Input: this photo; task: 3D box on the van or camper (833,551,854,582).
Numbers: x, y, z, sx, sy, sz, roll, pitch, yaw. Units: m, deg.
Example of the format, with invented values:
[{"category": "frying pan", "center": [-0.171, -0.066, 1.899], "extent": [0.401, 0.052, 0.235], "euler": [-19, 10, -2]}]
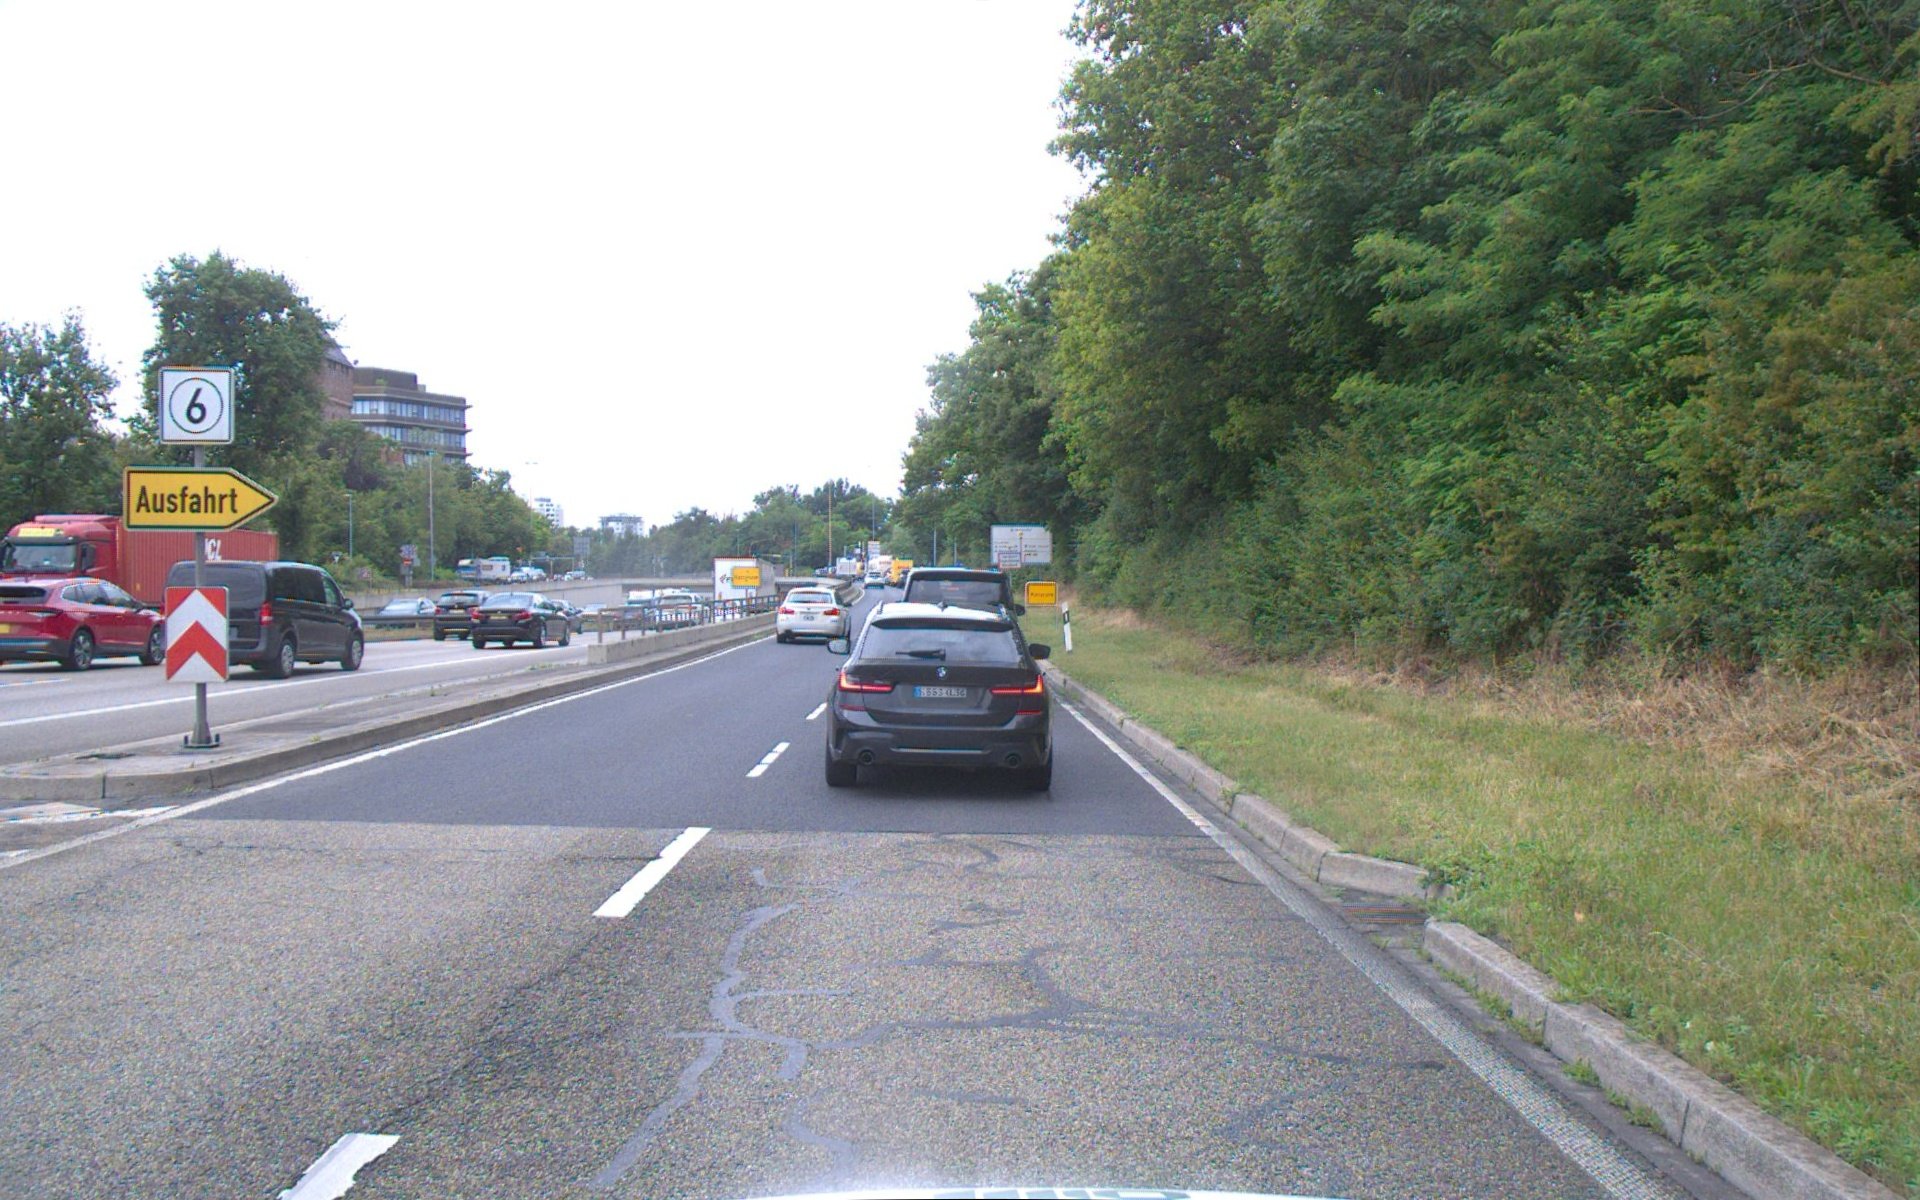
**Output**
[{"category": "van or camper", "center": [-11.128, -3.205, 158.768], "extent": [1.954, 2.870, 3.997], "euler": [0, 0, -3]}]

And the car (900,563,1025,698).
[{"category": "car", "center": [0.018, 0.430, 25.557], "extent": [1.759, 1.904, 3.999], "euler": [1, 0, -1]}]

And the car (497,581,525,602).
[{"category": "car", "center": [-40.672, -0.803, 149.813], "extent": [1.622, 1.868, 3.621], "euler": [0, 0, -1]}]

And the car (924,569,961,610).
[{"category": "car", "center": [-0.708, -0.423, 65.008], "extent": [1.423, 1.567, 3.224], "euler": [0, 0, -1]}]

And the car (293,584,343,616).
[{"category": "car", "center": [-37.744, -0.007, 97.251], "extent": [1.650, 1.848, 3.428], "euler": [0, 0, -1]}]

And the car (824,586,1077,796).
[{"category": "car", "center": [-0.151, 0.658, 14.059], "extent": [1.809, 1.492, 3.998], "euler": [1, 0, -3]}]

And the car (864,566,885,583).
[{"category": "car", "center": [-8.417, -2.503, 162.679], "extent": [1.893, 1.624, 3.872], "euler": [0, 0, -6]}]

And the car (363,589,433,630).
[{"category": "car", "center": [-24.601, 0.403, 72.521], "extent": [1.738, 1.749, 3.999], "euler": [0, 0, -1]}]

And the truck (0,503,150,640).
[{"category": "truck", "center": [-28.128, -0.872, 52.266], "extent": [2.707, 4.135, 4.906], "euler": [0, 0, -1]}]

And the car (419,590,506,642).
[{"category": "car", "center": [-17.053, 0.513, 56.897], "extent": [1.852, 1.711, 4.305], "euler": [0, 0, -2]}]

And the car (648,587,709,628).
[{"category": "car", "center": [-12.230, 0.288, 72.066], "extent": [1.906, 1.721, 4.506], "euler": [0, 0, -1]}]

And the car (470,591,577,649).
[{"category": "car", "center": [-11.837, 0.509, 45.129], "extent": [1.678, 1.482, 4.666], "euler": [1, 0, 0]}]

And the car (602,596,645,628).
[{"category": "car", "center": [-18.411, 0.646, 90.635], "extent": [1.653, 1.660, 3.733], "euler": [2, 0, -2]}]

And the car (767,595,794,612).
[{"category": "car", "center": [-22.091, 0.454, 203.853], "extent": [3.143, 2.063, 5.066], "euler": [0, 0, -8]}]

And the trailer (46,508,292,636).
[{"category": "trailer", "center": [-28.267, -0.931, 60.144], "extent": [2.708, 4.135, 13.350], "euler": [0, 0, -1]}]

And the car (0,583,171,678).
[{"category": "car", "center": [-16.041, 0.503, 29.797], "extent": [1.730, 1.595, 3.944], "euler": [0, 0, 0]}]

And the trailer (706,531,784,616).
[{"category": "trailer", "center": [-13.151, -1.534, 102.274], "extent": [3.069, 4.807, 14.555], "euler": [1, 0, -1]}]

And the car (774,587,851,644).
[{"category": "car", "center": [-4.032, 0.398, 45.912], "extent": [1.821, 1.489, 4.883], "euler": [1, 0, -2]}]

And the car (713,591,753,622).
[{"category": "car", "center": [-11.974, 0.342, 87.427], "extent": [1.733, 1.577, 3.491], "euler": [0, 0, -2]}]

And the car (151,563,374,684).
[{"category": "car", "center": [-11.868, 0.362, 28.538], "extent": [1.953, 1.883, 4.809], "euler": [1, 0, -2]}]

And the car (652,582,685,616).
[{"category": "car", "center": [-18.268, -0.081, 103.623], "extent": [1.414, 2.080, 3.680], "euler": [0, 0, 0]}]

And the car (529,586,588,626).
[{"category": "car", "center": [-17.465, 0.254, 72.113], "extent": [1.653, 1.636, 4.006], "euler": [2, 0, -2]}]
